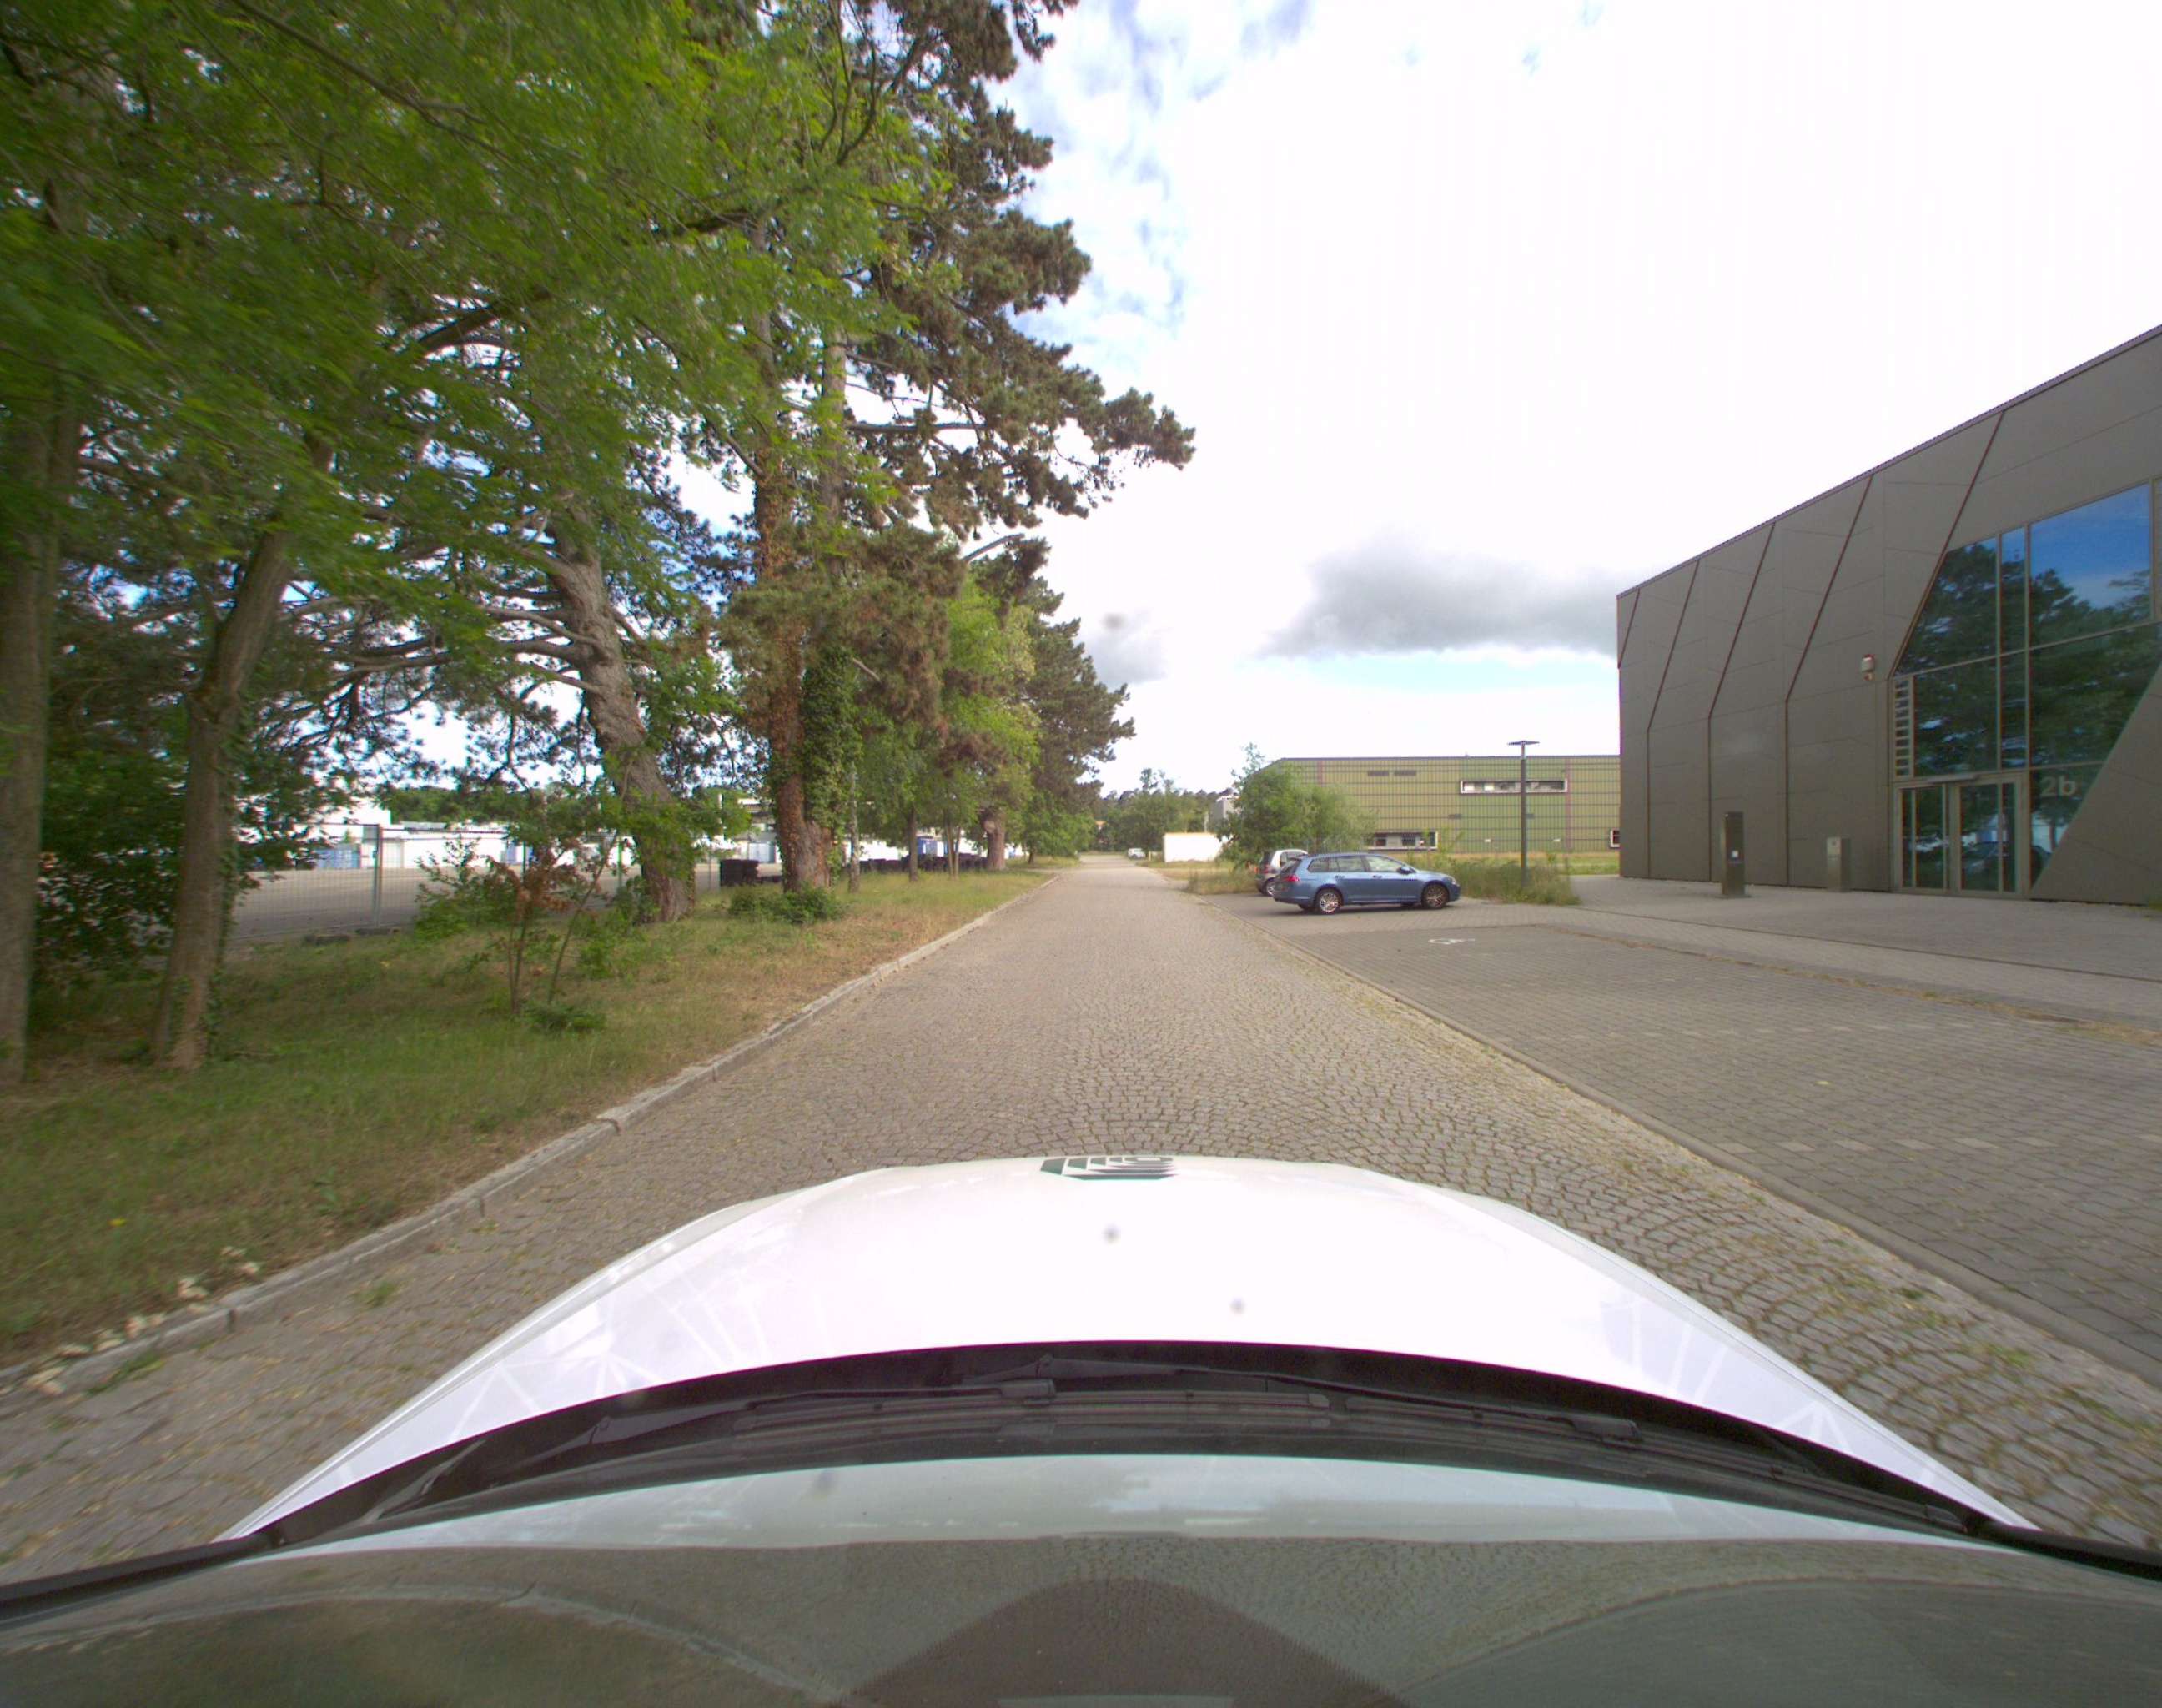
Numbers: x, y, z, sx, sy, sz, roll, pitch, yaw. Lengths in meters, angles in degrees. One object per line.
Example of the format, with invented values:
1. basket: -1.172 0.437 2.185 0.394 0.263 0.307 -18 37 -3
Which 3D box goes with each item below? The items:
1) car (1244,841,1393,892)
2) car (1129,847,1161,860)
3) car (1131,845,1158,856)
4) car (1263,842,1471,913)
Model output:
1. car: 8.016 0.403 27.790 4.500 1.531 2.001 -2 0 2
2. car: 8.974 -0.078 114.026 4.340 1.687 1.925 0 0 0
3. car: 10.516 -0.620 135.002 4.337 1.780 1.927 0 0 2
4. car: 7.065 0.549 20.438 4.504 1.531 1.999 -2 0 -1
